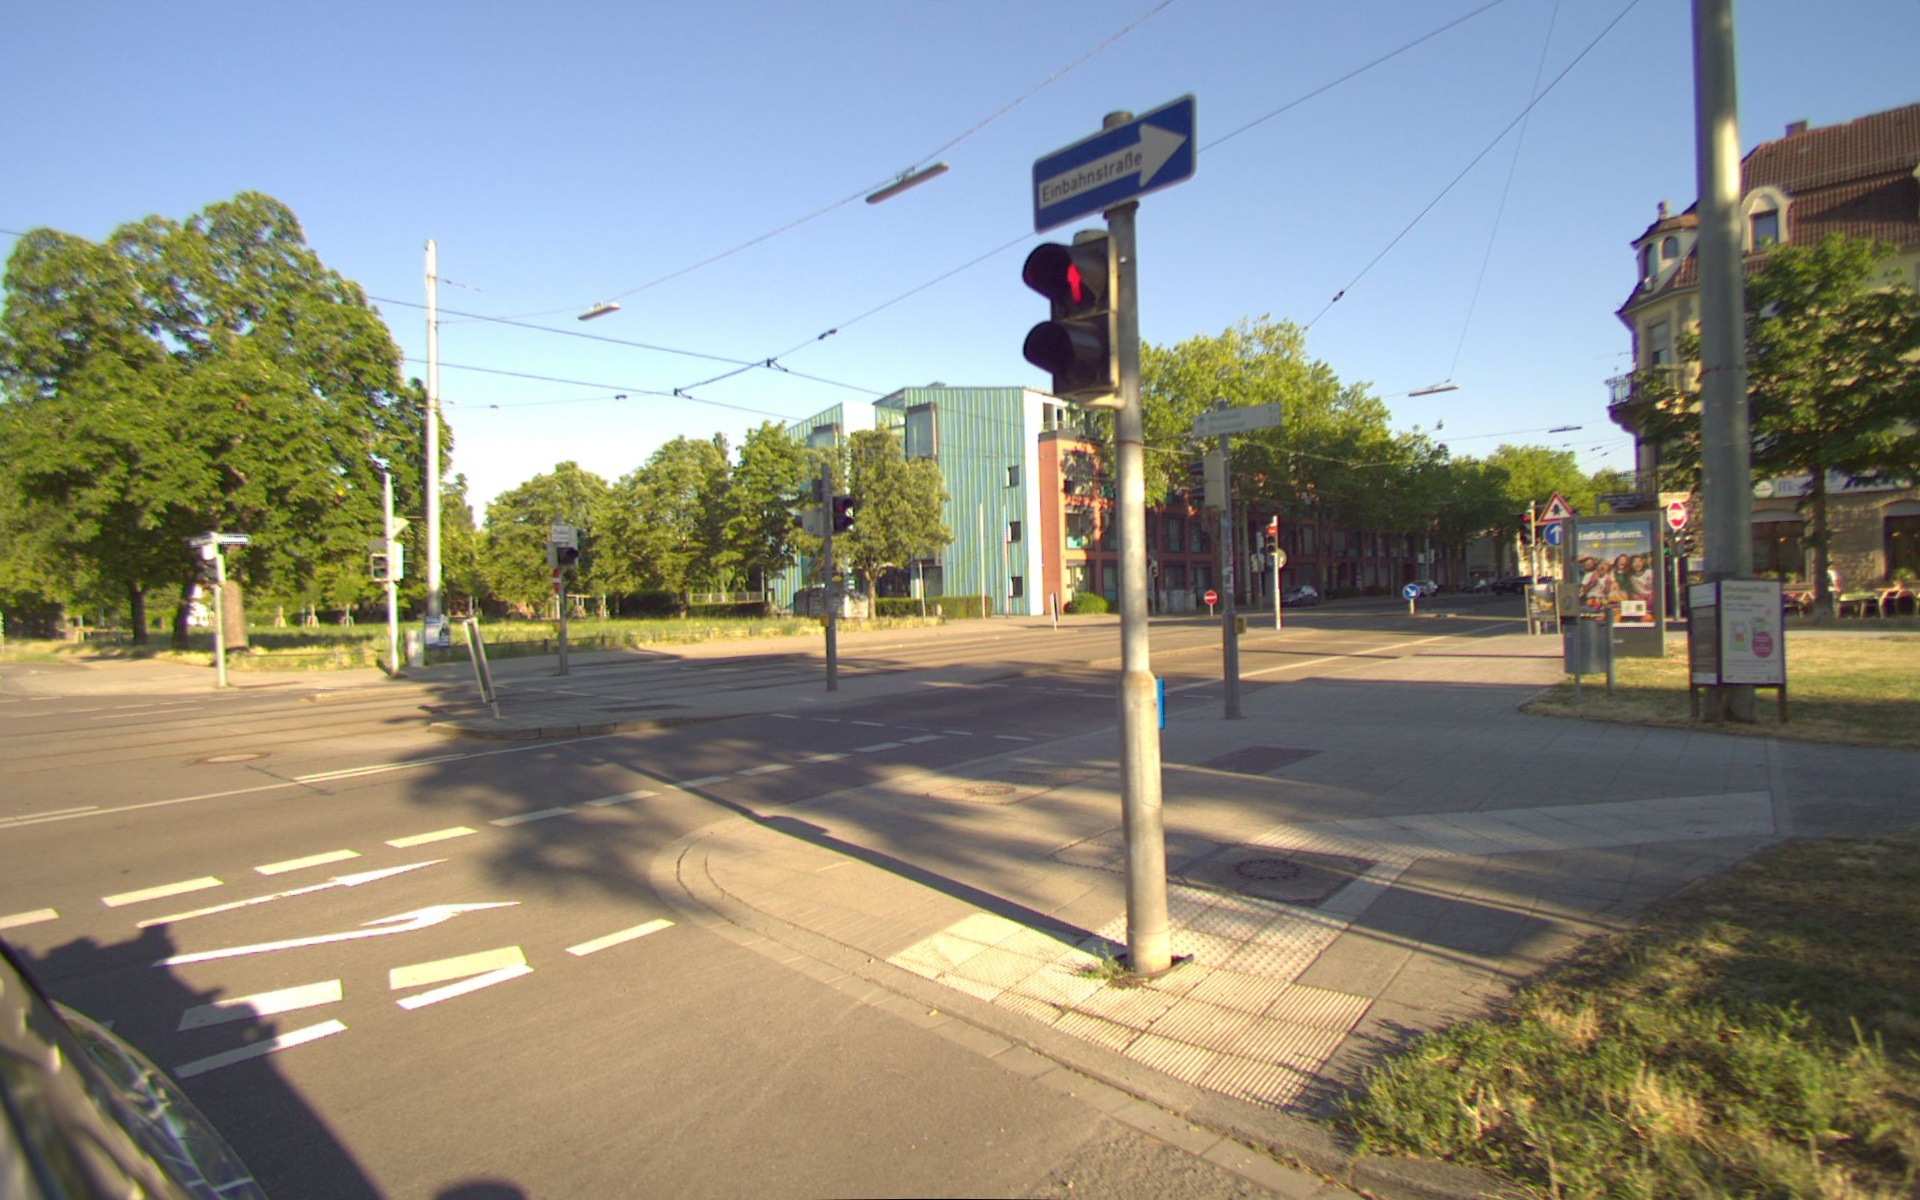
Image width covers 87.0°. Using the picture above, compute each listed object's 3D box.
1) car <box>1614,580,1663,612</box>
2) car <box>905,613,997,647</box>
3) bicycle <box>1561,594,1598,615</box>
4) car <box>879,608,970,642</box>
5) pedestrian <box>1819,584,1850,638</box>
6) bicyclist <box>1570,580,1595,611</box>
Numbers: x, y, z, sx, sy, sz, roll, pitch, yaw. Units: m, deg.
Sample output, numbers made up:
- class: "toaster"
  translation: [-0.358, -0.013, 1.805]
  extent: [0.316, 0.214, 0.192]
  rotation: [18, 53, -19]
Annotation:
- class: "car"
  translation: [41.927, -0.273, 62.519]
  extent: [2.031, 1.749, 3.728]
  rotation: [-2, 2, 41]
- class: "car"
  translation: [-0.423, 1.591, 54.820]
  extent: [2.000, 1.684, 5.151]
  rotation: [-2, 0, 42]
- class: "bicycle"
  translation: [35.116, 0.250, 57.337]
  extent: [3.035, 1.170, 0.876]
  rotation: [-1, 0, -41]
- class: "car"
  translation: [-1.933, 1.378, 56.257]
  extent: [1.968, 1.684, 5.149]
  rotation: [-3, -1, 43]
- class: "pedestrian"
  translation: [27.142, 0.341, 31.418]
  extent: [0.683, 1.636, 0.609]
  rotation: [-2, 2, 43]
- class: "bicyclist"
  translation: [35.430, -0.253, 57.622]
  extent: [1.131, 1.736, 0.876]
  rotation: [-1, 0, -41]
